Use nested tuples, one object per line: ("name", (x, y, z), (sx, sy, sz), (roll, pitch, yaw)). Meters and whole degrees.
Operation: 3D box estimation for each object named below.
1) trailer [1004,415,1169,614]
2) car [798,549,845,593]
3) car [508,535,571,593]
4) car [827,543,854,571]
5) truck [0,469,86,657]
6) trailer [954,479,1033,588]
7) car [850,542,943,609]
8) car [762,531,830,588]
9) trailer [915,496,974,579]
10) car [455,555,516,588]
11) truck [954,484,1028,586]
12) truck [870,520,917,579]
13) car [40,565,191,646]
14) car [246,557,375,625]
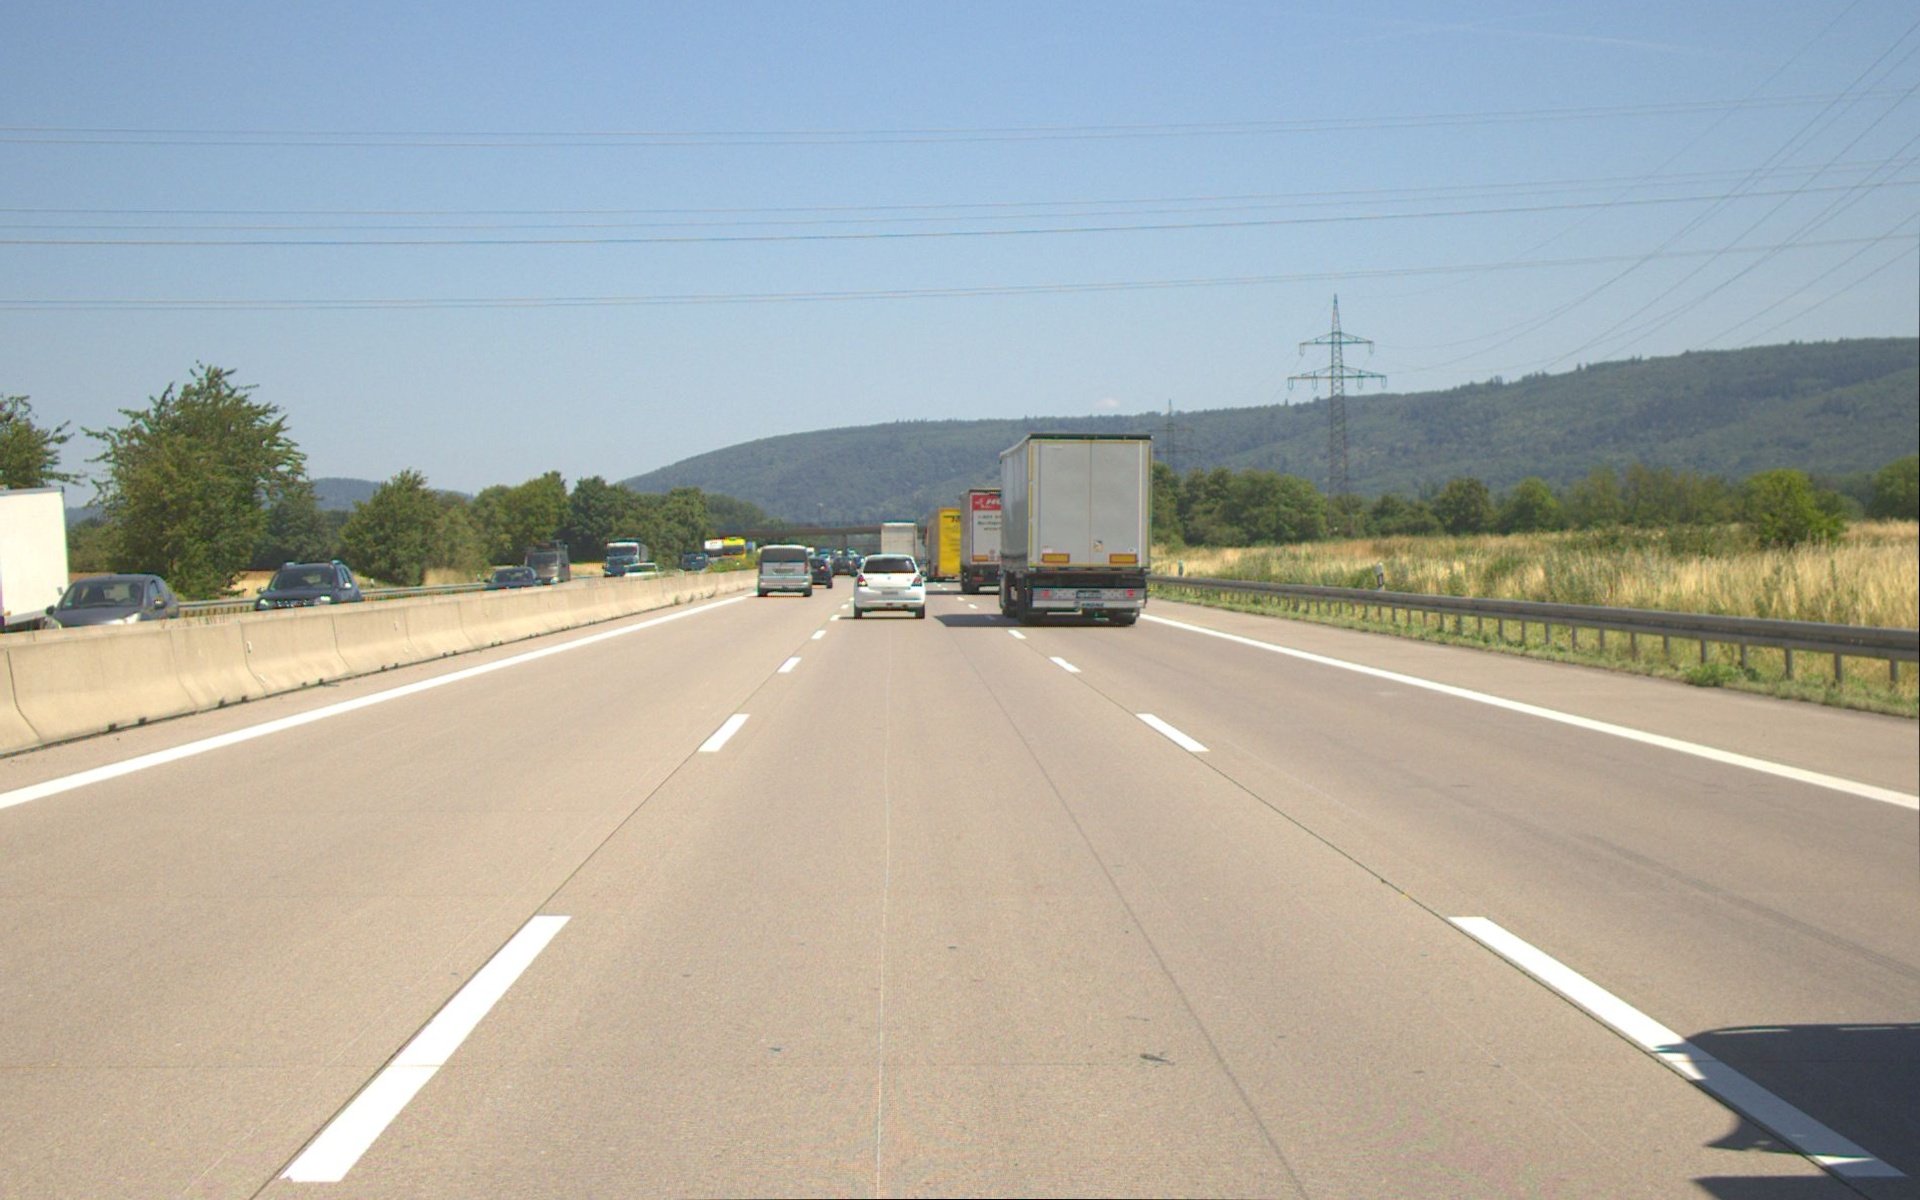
("trailer", (2.691, -1.848, 77.662), (3.018, 4.047, 14.208), (1, 1, -1))
("car", (-6.298, -1.347, 156.887), (1.993, 1.950, 4.000), (1, 1, -1))
("car", (-20.649, -1.796, 168.943), (2.248, 2.777, 6.792), (1, 1, 0))
("car", (-8.323, -2.997, 239.423), (1.783, 1.875, 4.000), (1, 1, -1))
("truck", (-17.381, -0.644, 59.734), (2.547, 3.131, 7.923), (0, 1, -1))
("trailer", (1.254, -2.604, 136.366), (2.874, 4.086, 13.513), (1, 1, 0))
("car", (-1.490, -0.594, 81.975), (2.107, 1.530, 4.122), (1, 1, 0))
("car", (-5.969, -1.486, 125.531), (2.254, 2.007, 4.298), (1, 1, 0))
("trailer", (-0.930, -3.545, 197.532), (3.216, 4.548, 13.457), (1, 1, -1))
("car", (-15.911, -0.954, 115.463), (1.521, 1.049, 3.523), (1, 1, 0))
("truck", (1.242, -2.679, 141.879), (2.905, 4.086, 6.272), (1, 1, 0))
("truck", (-4.907, -3.696, 252.753), (3.353, 4.257, 8.229), (1, 1, -1))
("car", (-12.887, 0.071, 52.595), (1.542, 1.159, 3.376), (1, 1, -1))
("car", (-13.639, -0.206, 72.377), (1.846, 1.347, 4.494), (-1, 1, 0))
